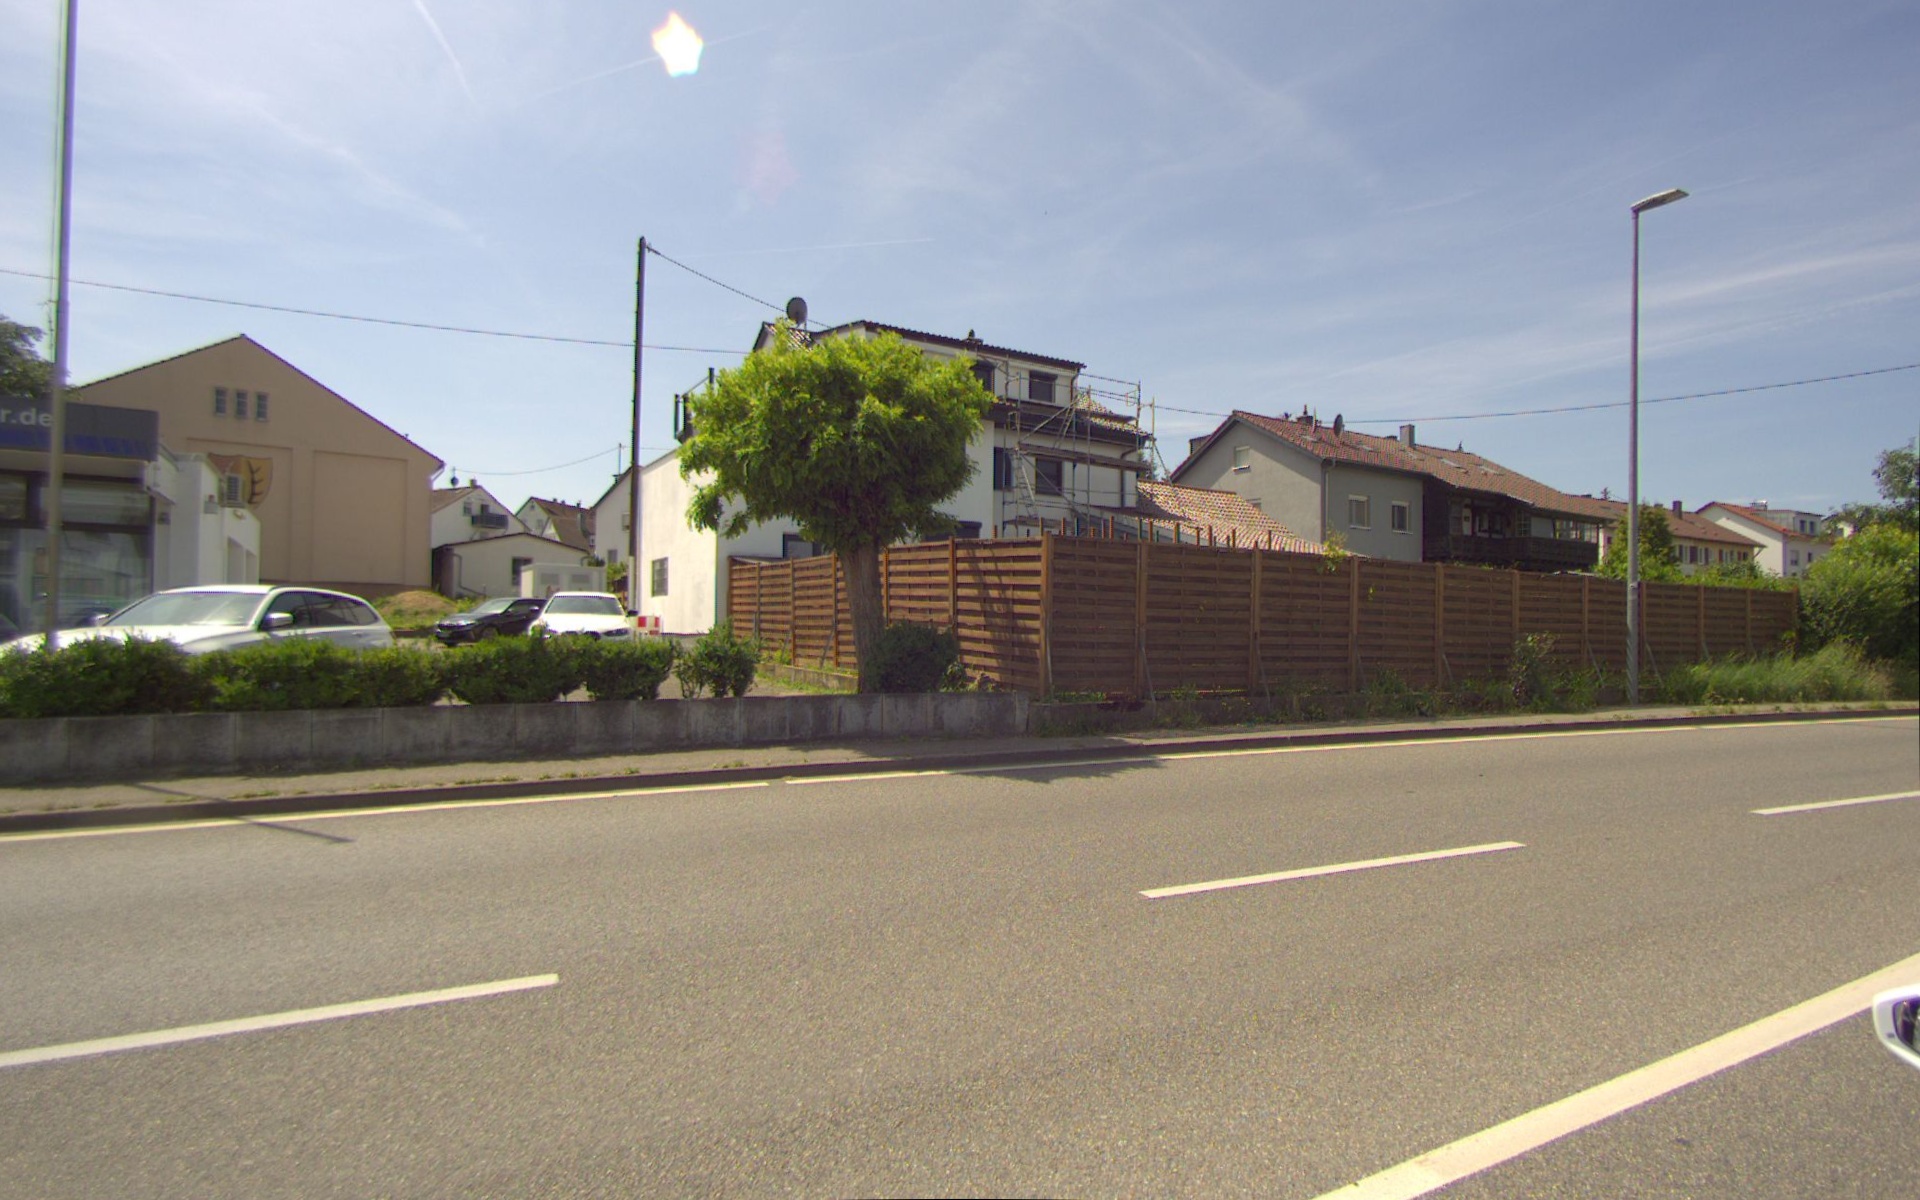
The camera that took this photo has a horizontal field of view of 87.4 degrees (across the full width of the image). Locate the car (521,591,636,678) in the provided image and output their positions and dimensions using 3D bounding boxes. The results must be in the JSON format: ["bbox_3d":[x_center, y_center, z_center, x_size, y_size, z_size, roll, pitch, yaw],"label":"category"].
[{"bbox_3d":[-7.406,0.619,19.829,1.805,1.530,3.985,1,0,-17],"label":"car"}]

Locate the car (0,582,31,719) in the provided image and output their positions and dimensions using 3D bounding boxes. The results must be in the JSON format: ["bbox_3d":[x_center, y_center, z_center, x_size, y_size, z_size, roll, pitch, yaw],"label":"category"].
[{"bbox_3d":[-11.094,0.506,8.915,1.863,1.467,4.339,2,0,-5],"label":"car"}]

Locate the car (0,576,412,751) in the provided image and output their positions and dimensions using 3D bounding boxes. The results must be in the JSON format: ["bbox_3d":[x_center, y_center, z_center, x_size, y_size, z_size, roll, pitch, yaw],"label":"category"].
[{"bbox_3d":[-7.913,0.557,10.882,1.822,1.467,4.339,2,0,-5],"label":"car"}]

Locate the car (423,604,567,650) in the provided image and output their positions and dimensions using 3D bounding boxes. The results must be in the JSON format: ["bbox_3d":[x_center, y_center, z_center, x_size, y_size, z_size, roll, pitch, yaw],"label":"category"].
[{"bbox_3d":[-14.398,0.796,31.335,1.756,1.238,3.999,2,1,21],"label":"car"}]
